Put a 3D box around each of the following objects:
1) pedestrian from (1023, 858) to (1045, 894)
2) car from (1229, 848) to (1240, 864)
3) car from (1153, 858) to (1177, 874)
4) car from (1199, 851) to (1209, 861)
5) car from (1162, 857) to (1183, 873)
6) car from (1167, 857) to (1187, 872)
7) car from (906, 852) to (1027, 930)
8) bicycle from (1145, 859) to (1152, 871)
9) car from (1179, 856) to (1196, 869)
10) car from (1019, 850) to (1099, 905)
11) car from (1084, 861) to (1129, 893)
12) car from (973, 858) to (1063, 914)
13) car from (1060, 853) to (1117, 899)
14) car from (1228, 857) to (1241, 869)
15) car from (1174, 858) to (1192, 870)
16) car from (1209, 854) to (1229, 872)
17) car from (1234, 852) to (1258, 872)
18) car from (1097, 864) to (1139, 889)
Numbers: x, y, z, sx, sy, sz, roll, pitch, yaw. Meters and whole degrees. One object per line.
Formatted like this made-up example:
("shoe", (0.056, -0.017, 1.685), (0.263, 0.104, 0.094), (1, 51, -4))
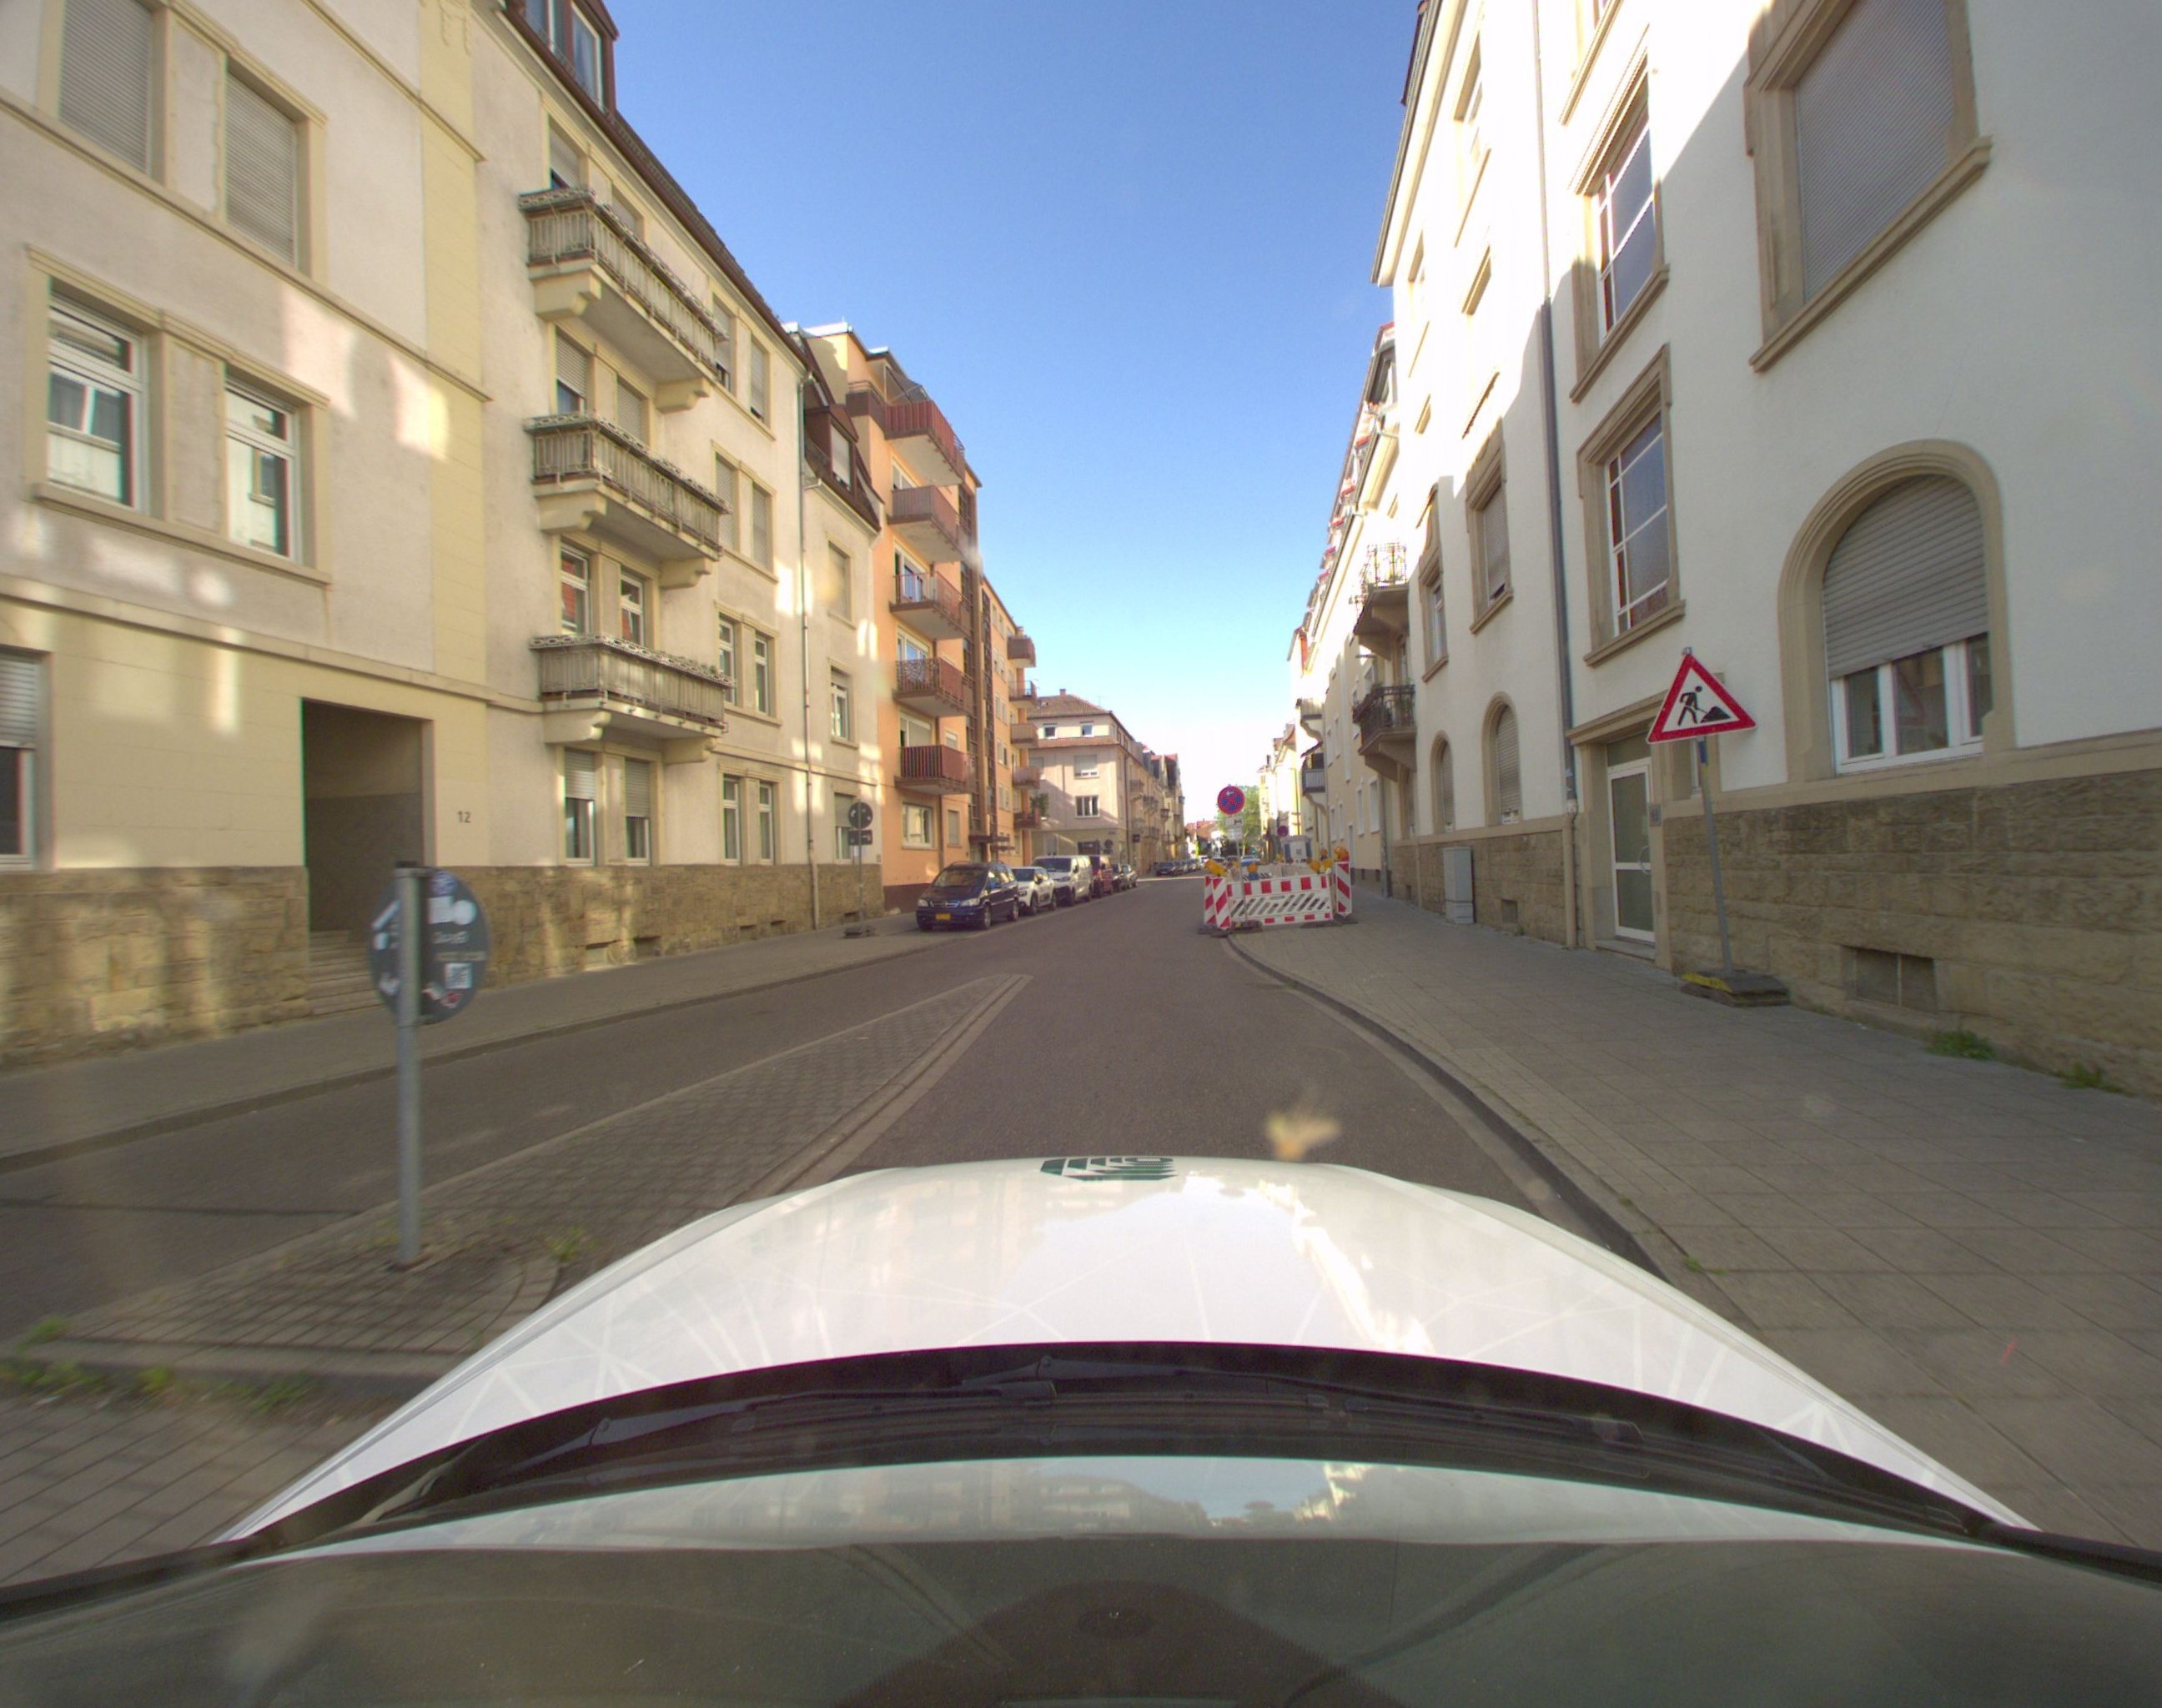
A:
("pedestrian", (-2.434, 1.109, 42.191), (0.919, 1.817, 0.997), (-2, -1, 7))
("car", (27.603, 0.353, 146.448), (1.826, 2.534, 4.188), (-4, -3, 11))
("car", (7.779, 1.142, 75.330), (1.668, 1.426, 4.288), (0, -1, 13))
("car", (25.046, 0.447, 165.594), (1.991, 2.000, 4.499), (0, -1, 10))
("car", (9.718, 1.162, 86.294), (1.991, 1.582, 4.499), (0, -1, 10))
("car", (11.052, 1.196, 93.255), (1.991, 1.619, 4.499), (0, -1, 10))
("car", (-2.814, 0.866, 20.994), (1.751, 1.771, 4.306), (-2, -1, 10))
("bicycle", (7.568, 1.245, 91.627), (0.537, 1.301, 1.873), (-1, -1, 12))
("car", (13.932, 1.140, 106.482), (1.991, 1.619, 4.499), (0, -1, 10))
("car", (-0.718, 0.848, 31.428), (1.963, 1.925, 5.325), (-2, -1, 10))
("car", (1.393, 1.180, 43.188), (1.752, 1.502, 4.011), (-3, -1, 9))
("car", (-1.905, 0.959, 26.053), (1.751, 1.621, 4.307), (-2, -1, 10))
("car", (0.435, 0.954, 37.547), (1.751, 1.925, 4.949), (-2, -1, 11))
("car", (24.621, 1.471, 130.877), (1.991, 2.000, 4.499), (0, -1, 10))
("car", (12.789, 1.257, 101.844), (1.966, 1.482, 4.340), (0, -1, 10))
("car", (15.187, 1.037, 89.538), (1.991, 1.914, 4.500), (0, -1, 11))
("car", (14.999, 0.729, 73.858), (1.900, 1.645, 4.789), (-4, -2, 13))
("car", (2.259, 1.292, 48.253), (1.751, 1.377, 4.492), (-2, -1, 11))
